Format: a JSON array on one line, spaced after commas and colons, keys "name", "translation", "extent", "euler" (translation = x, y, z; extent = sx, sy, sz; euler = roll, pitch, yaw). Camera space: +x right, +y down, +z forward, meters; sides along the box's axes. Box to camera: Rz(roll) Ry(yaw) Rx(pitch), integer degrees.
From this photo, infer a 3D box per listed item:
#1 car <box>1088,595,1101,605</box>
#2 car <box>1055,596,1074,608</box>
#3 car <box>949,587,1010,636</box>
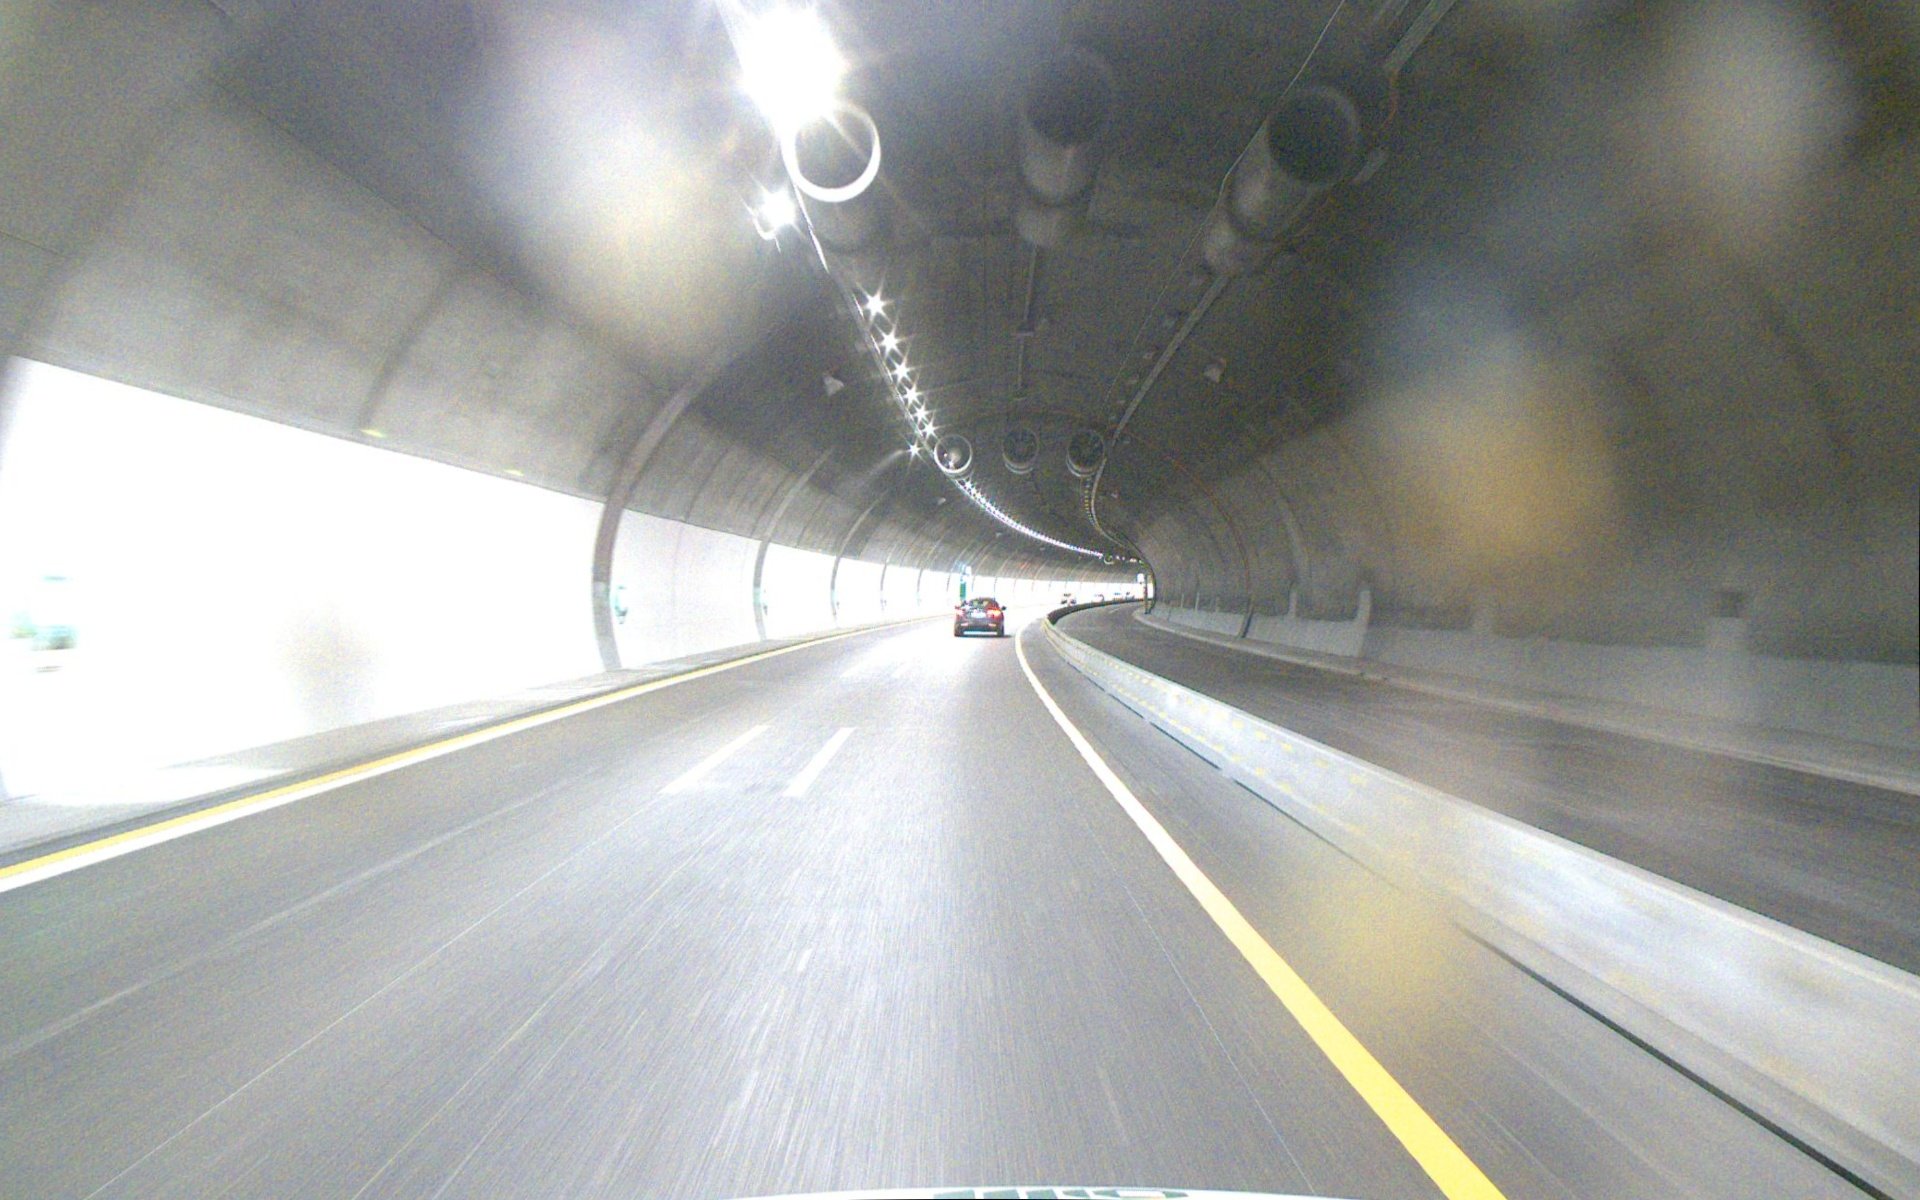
[{"name": "car", "translation": [18.717, -0.006, 230.277], "extent": [1.561, 1.356, 3.754], "euler": [1, 0, 10]}, {"name": "car", "translation": [14.281, 0.264, 225.476], "extent": [2.118, 1.512, 4.003], "euler": [1, 0, 9]}, {"name": "car", "translation": [0.755, 0.391, 61.436], "extent": [2.096, 1.735, 4.002], "euler": [1, 0, 3]}]
